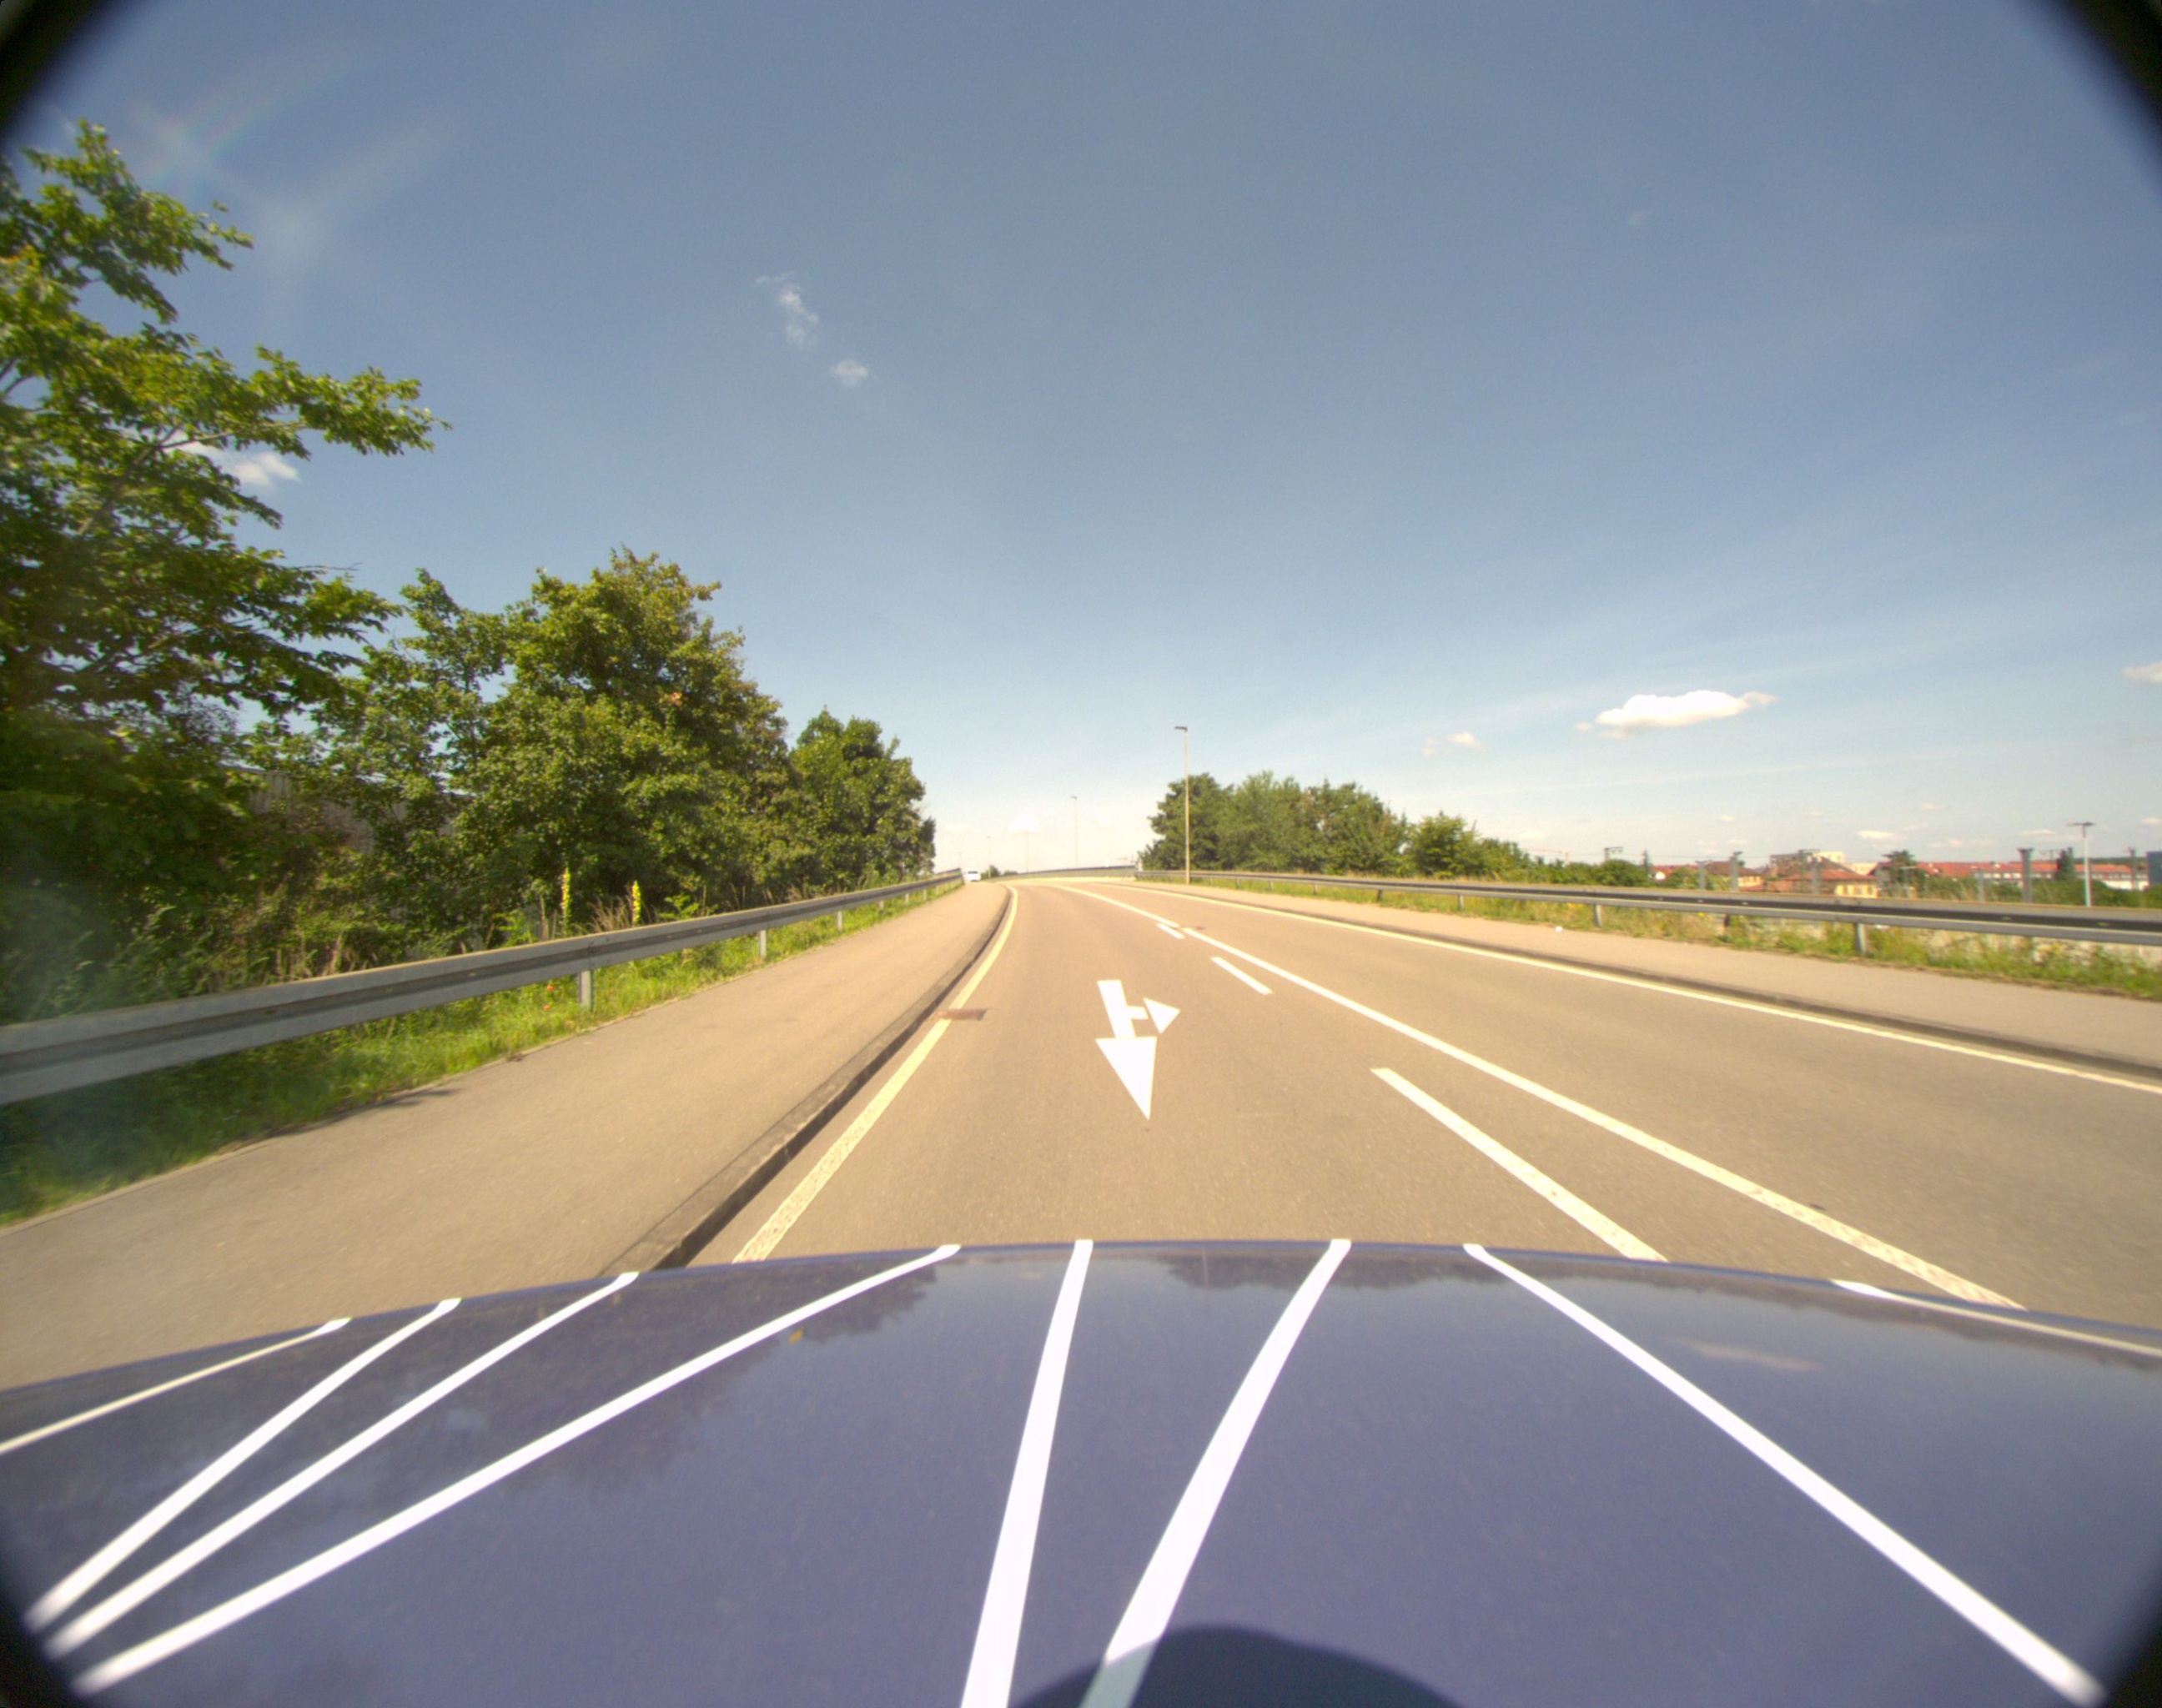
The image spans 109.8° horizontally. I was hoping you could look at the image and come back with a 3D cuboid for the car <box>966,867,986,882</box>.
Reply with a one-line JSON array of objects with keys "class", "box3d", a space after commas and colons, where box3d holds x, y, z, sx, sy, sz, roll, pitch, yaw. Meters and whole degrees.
[{"class": "car", "box3d": [-13.899, 2.715, 100.066, 2.095, 1.750, 4.278, -3, -1, -14]}]
